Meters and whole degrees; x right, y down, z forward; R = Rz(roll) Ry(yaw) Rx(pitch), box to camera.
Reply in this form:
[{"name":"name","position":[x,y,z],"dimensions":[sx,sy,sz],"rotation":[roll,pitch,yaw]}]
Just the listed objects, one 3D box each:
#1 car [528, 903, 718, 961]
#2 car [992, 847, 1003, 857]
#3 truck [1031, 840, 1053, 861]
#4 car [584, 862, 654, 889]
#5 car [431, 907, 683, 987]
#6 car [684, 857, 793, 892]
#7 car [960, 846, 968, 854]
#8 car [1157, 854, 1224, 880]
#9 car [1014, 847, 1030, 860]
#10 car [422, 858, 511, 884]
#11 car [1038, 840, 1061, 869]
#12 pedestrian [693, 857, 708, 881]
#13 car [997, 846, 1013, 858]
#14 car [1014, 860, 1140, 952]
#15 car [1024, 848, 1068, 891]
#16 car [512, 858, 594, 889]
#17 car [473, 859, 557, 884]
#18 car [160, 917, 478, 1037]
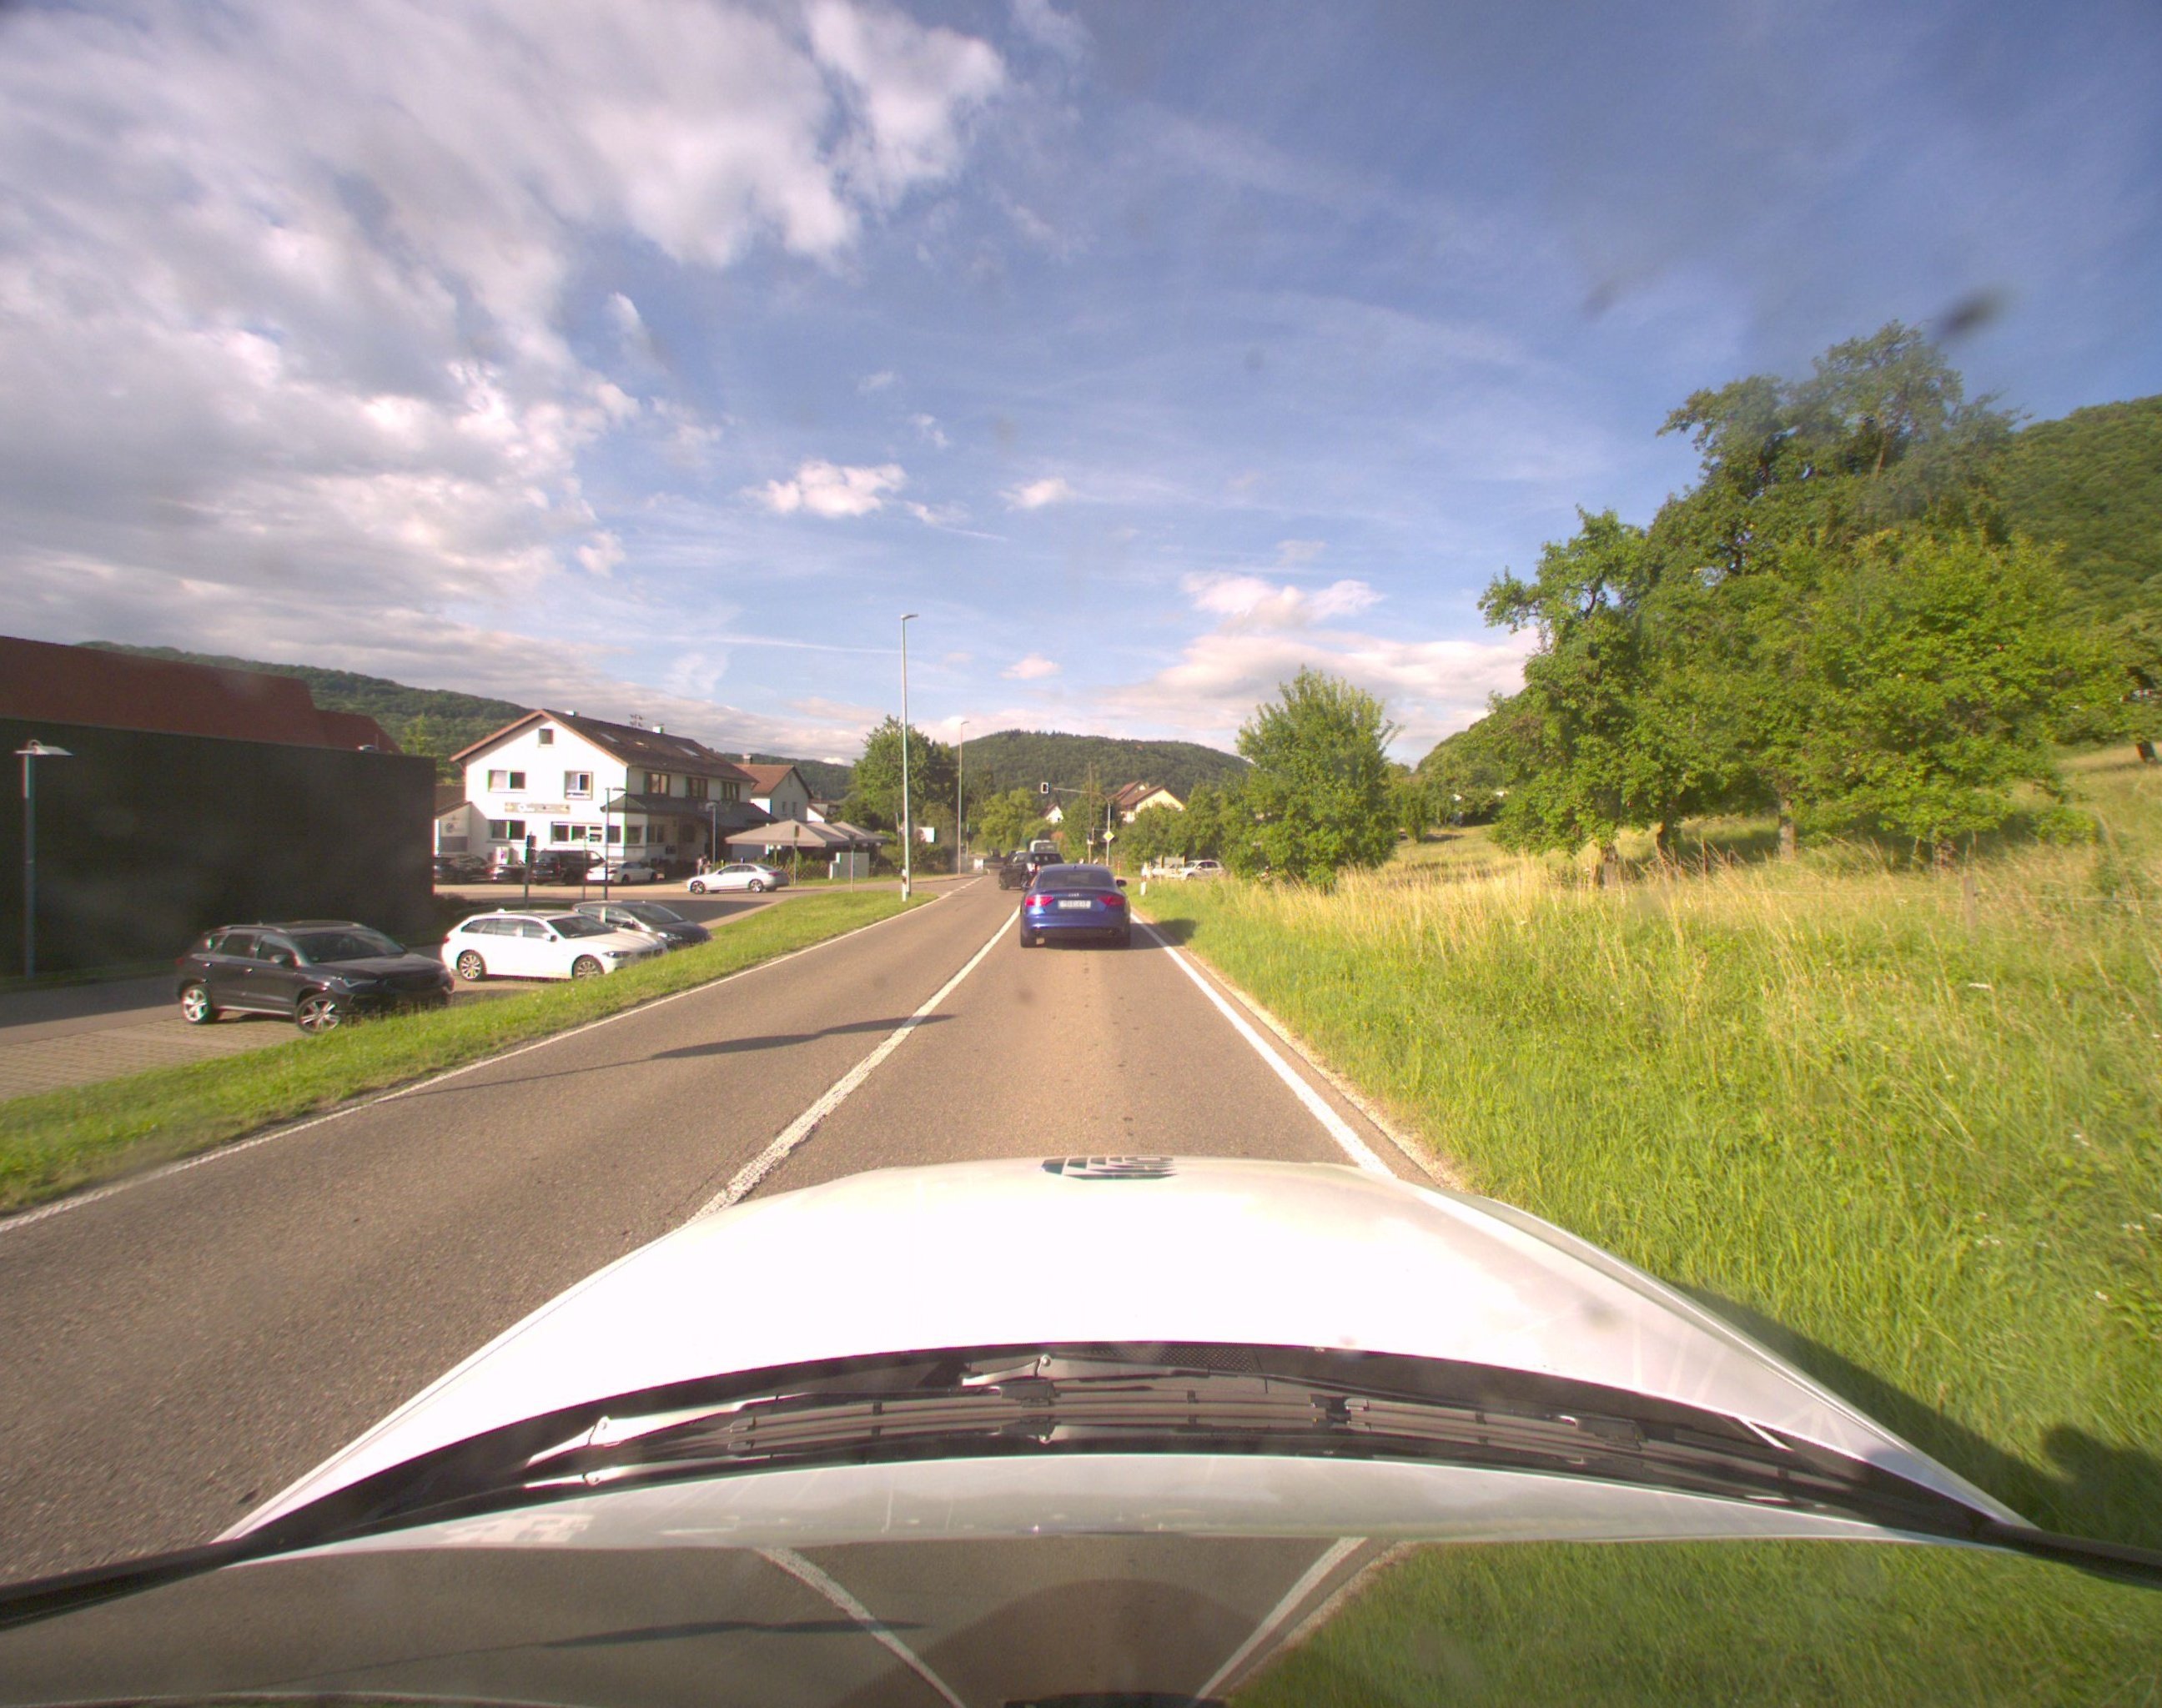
[{"name":"car","position":[-11.689,1.959,20.897],"dimensions":[3.963,1.310,1.765],"rotation":[0,-1,9]},{"name":"car","position":[-13.114,-0.286,127.684],"dimensions":[1.695,1.490,3.520],"rotation":[0,-1,-5]},{"name":"truck","position":[-3.889,-0.290,79.897],"dimensions":[1.696,1.953,5.906],"rotation":[0,-1,-8]},{"name":"car","position":[-26.080,1.172,46.116],"dimensions":[1.550,1.450,4.001],"rotation":[0,-1,1]},{"name":"car","position":[-11.644,2.005,18.201],"dimensions":[4.780,1.493,1.888],"rotation":[0,-1,13]},{"name":"car","position":[-16.434,0.956,39.219],"dimensions":[4.435,1.639,1.810],"rotation":[0,-1,-1]},{"name":"car","position":[-23.095,-0.776,160.392],"dimensions":[1.625,1.576,3.668],"rotation":[0,-1,-8]},{"name":"car","position":[6.861,0.798,50.823],"dimensions":[4.076,1.508,1.834],"rotation":[0,-1,-37]},{"name":"car","position":[-6.974,-0.040,96.856],"dimensions":[1.696,1.490,3.517],"rotation":[0,-1,-8]},{"name":"car","position":[-33.851,0.942,45.031],"dimensions":[1.835,1.354,4.000],"rotation":[0,-1,1]},{"name":"car","position":[-2.491,0.064,63.707],"dimensions":[1.742,2.195,3.996],"rotation":[0,-1,-3]},{"name":"pedestrian","position":[-23.533,0.914,50.403],"dimensions":[0.606,1.503,0.590],"rotation":[0,-1,1]},{"name":"car","position":[-10.025,-0.272,107.087],"dimensions":[1.698,1.490,3.513],"rotation":[0,-1,-11]},{"name":"car","position":[0.074,0.830,14.546],"dimensions":[1.786,1.388,4.006],"rotation":[-1,-1,6]},{"name":"car","position":[-1.500,0.629,33.710],"dimensions":[1.743,1.639,3.994],"rotation":[0,-1,-4]},{"name":"car","position":[-29.518,1.049,45.695],"dimensions":[1.880,1.662,4.001],"rotation":[0,-1,1]},{"name":"car","position":[-31.656,0.955,45.702],"dimensions":[1.835,1.354,4.000],"rotation":[0,-1,1]},{"name":"car","position":[-12.822,1.983,13.810],"dimensions":[3.997,1.637,2.007],"rotation":[0,-1,13]}]
